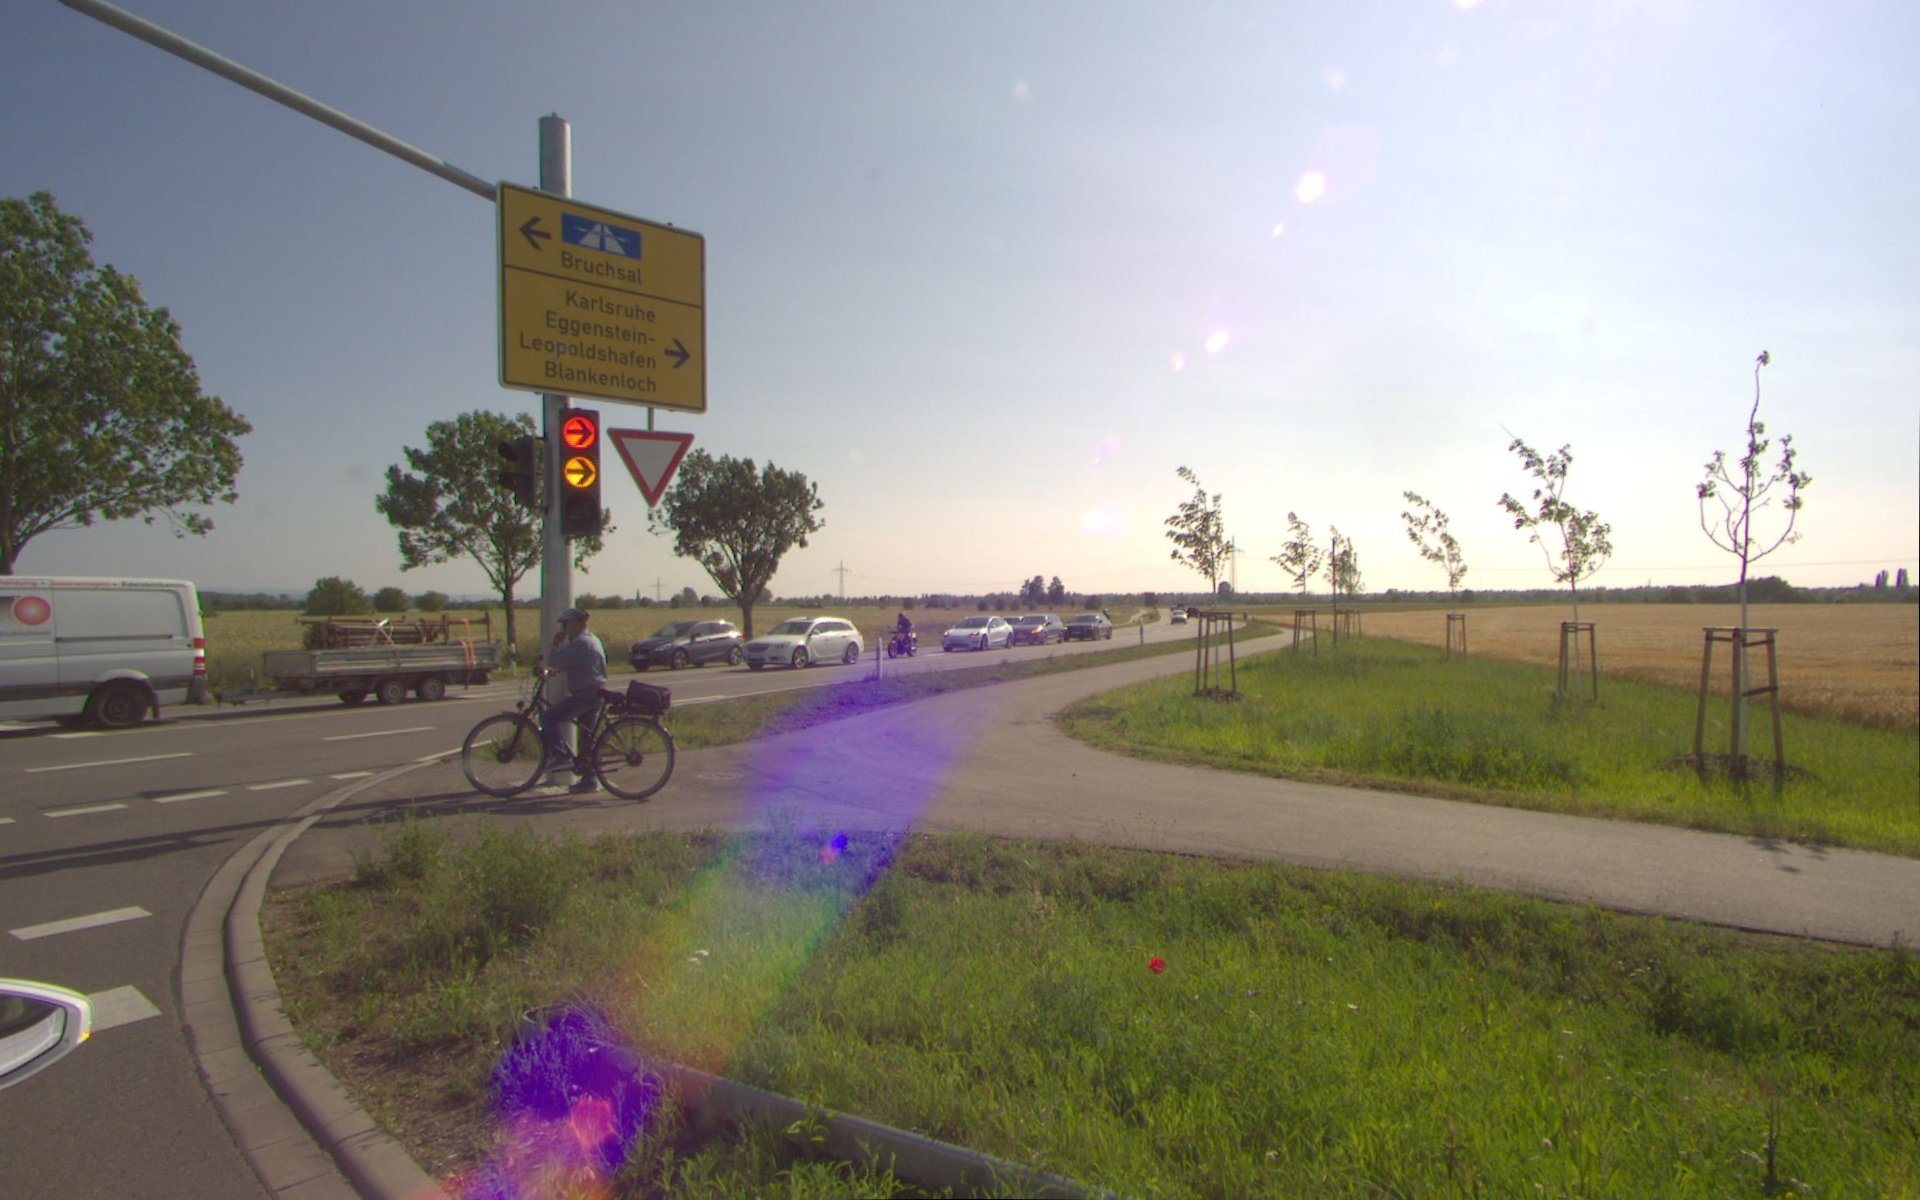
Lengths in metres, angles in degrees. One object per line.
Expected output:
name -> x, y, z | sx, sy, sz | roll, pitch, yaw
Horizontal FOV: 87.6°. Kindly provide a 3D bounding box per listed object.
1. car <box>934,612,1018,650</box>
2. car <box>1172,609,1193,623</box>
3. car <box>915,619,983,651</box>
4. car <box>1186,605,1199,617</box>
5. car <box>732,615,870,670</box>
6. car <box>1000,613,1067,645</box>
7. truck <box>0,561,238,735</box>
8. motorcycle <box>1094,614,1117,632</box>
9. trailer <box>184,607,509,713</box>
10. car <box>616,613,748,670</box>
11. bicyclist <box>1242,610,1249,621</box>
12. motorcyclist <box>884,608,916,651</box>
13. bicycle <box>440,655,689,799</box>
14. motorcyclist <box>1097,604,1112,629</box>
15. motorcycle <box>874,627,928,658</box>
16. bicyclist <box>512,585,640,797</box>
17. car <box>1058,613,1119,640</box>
car -> 0.731, 1.306, 42.846 | 1.867, 1.485, 4.259 | -2, -2, 28
car -> 24.126, 1.759, 108.656 | 1.663, 1.421, 3.991 | -2, -1, 21
car -> -0.475, 1.700, 49.272 | 1.608, 1.394, 4.409 | -3, -2, 24
car -> 36.694, 1.699, 158.270 | 1.810, 1.858, 4.465 | 1, 0, 11
car -> -4.804, 1.264, 30.970 | 1.738, 1.511, 4.689 | -1, -1, 28
car -> 3.663, 1.411, 49.184 | 1.866, 1.480, 4.292 | -1, -1, 25
truck -> -14.375, 0.692, 14.405 | 2.042, 2.436, 6.167 | -1, -1, 32
motorcycle -> 8.764, 1.378, 60.348 | 0.859, 1.087, 1.962 | -1, -1, 25
trailer -> -11.516, 1.035, 19.217 | 1.952, 1.760, 4.987 | -2, -1, 31
car -> -8.935, 1.313, 32.486 | 1.862, 1.646, 3.983 | -3, -2, 29
bicyclist -> 38.359, 2.129, 134.582 | 0.627, 1.476, 0.817 | 2, 1, 0
motorcyclist -> -2.192, 1.066, 36.604 | 0.670, 1.535, 1.176 | -1, 0, 27
bicycle -> -3.414, 1.110, 8.831 | 1.910, 1.165, 0.681 | 3, -2, -13
motorcyclist -> 8.711, 1.004, 60.326 | 0.669, 1.515, 0.844 | -1, 0, 25
motorcycle -> -2.143, 1.533, 36.716 | 0.885, 1.057, 2.419 | -1, 0, 26
bicyclist -> -3.370, 0.798, 8.862 | 0.901, 1.787, 0.619 | 3, -2, -13
car -> 7.154, 1.438, 55.361 | 1.866, 1.455, 4.779 | -1, -1, 27
